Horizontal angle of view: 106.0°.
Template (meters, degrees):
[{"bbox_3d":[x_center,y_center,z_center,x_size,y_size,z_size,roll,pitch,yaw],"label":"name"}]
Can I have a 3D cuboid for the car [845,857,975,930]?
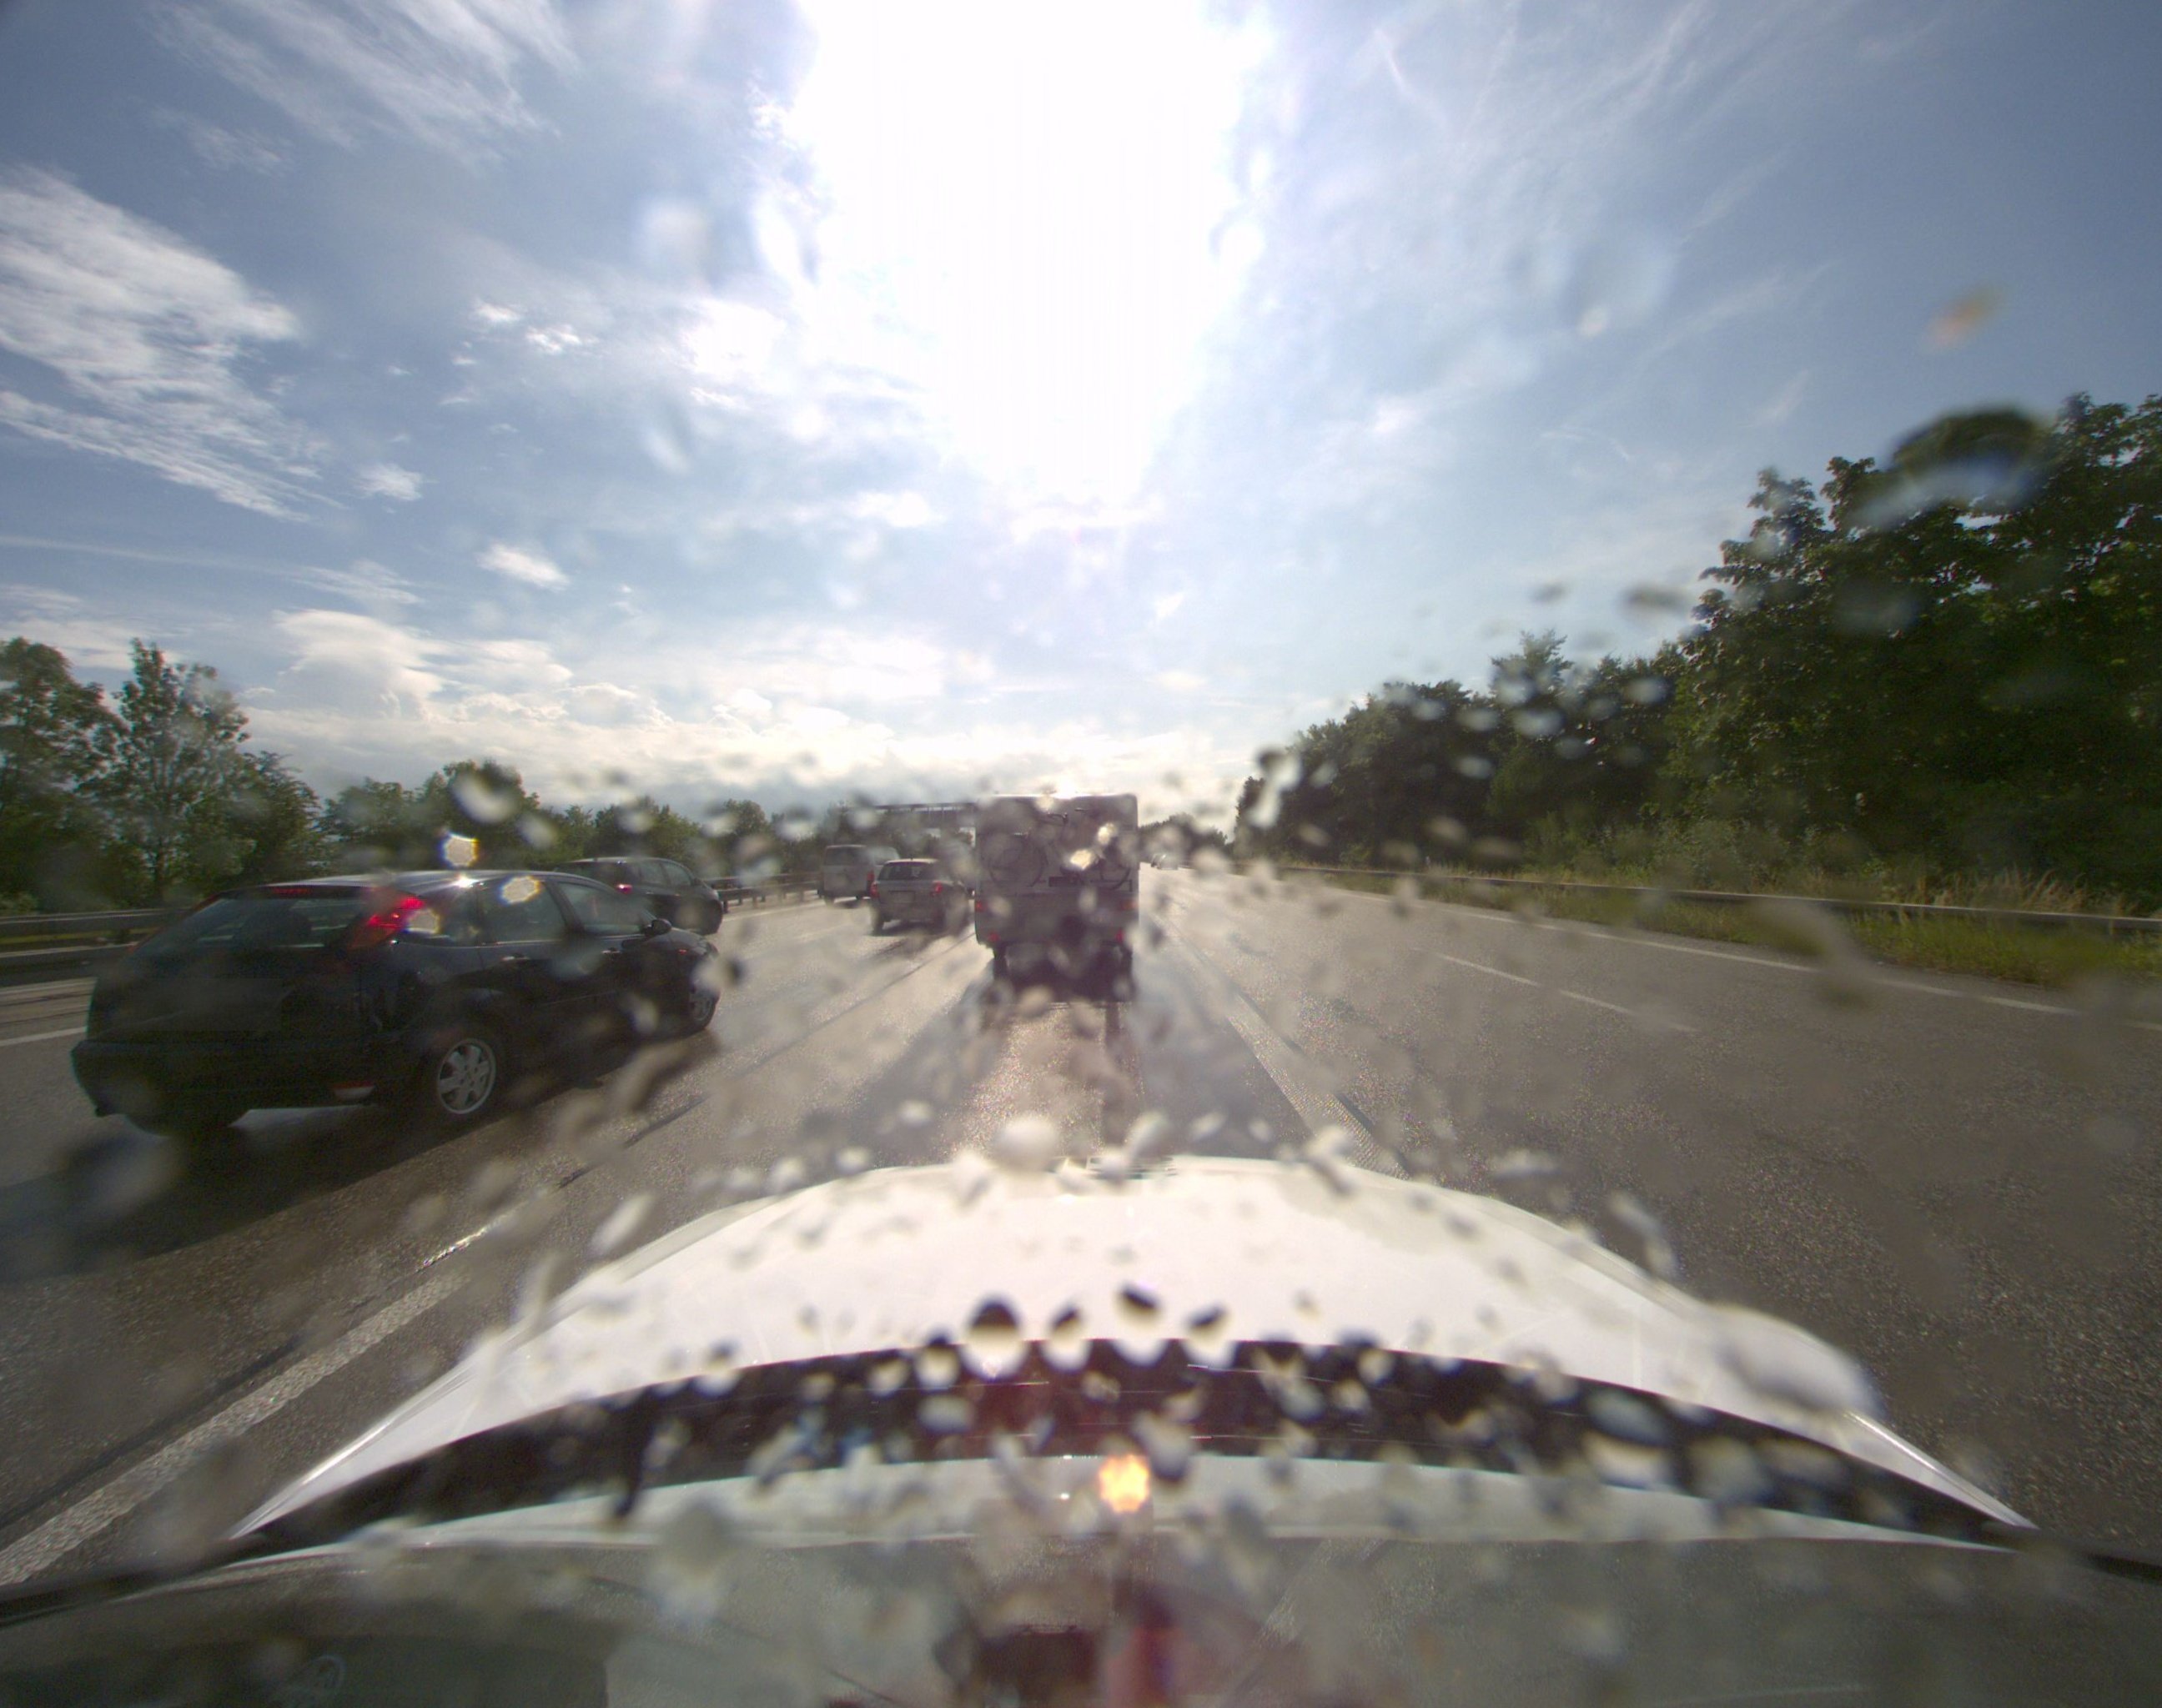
[{"bbox_3d":[-3.743,0.812,18.532,1.980,1.458,3.828,-1,0,2],"label":"car"}]

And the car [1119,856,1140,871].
[{"bbox_3d":[5.175,1.039,86.611,1.831,1.558,3.996,-1,0,-2],"label":"car"}]

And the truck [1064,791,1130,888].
[{"bbox_3d":[0.847,-0.672,44.758,3.135,4.626,10.736,-1,0,1],"label":"truck"}]

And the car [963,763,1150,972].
[{"bbox_3d":[-0.239,0.192,12.509,2.401,2.674,4.002,-1,0,2],"label":"car"}]

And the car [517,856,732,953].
[{"bbox_3d":[-8.463,0.847,15.565,1.776,1.578,3.918,-1,0,2],"label":"car"}]

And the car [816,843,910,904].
[{"bbox_3d":[-7.496,0.628,28.581,1.841,1.934,5.017,-1,0,1],"label":"car"}]

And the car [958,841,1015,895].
[{"bbox_3d":[-3.709,0.543,32.674,1.871,2.014,3.998,-1,0,-1],"label":"car"}]

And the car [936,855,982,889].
[{"bbox_3d":[-6.155,0.884,41.485,1.766,1.662,3.998,-1,0,-1],"label":"car"}]

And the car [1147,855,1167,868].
[{"bbox_3d":[9.504,0.907,102.014,1.872,1.629,3.996,-1,0,-2],"label":"car"}]

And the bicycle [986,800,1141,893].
[{"bbox_3d":[-0.212,-0.089,10.305,1.926,1.141,0.384,-1,-1,2],"label":"bicycle"}]

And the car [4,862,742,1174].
[{"bbox_3d":[-4.257,0.815,5.927,1.752,1.443,4.002,-1,0,2],"label":"car"}]

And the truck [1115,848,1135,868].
[{"bbox_3d":[5.552,0.463,102.943,2.406,2.443,6.056,-1,0,2],"label":"truck"}]

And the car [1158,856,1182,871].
[{"bbox_3d":[9.152,0.943,84.137,1.872,1.494,3.996,-1,0,-2],"label":"car"}]
